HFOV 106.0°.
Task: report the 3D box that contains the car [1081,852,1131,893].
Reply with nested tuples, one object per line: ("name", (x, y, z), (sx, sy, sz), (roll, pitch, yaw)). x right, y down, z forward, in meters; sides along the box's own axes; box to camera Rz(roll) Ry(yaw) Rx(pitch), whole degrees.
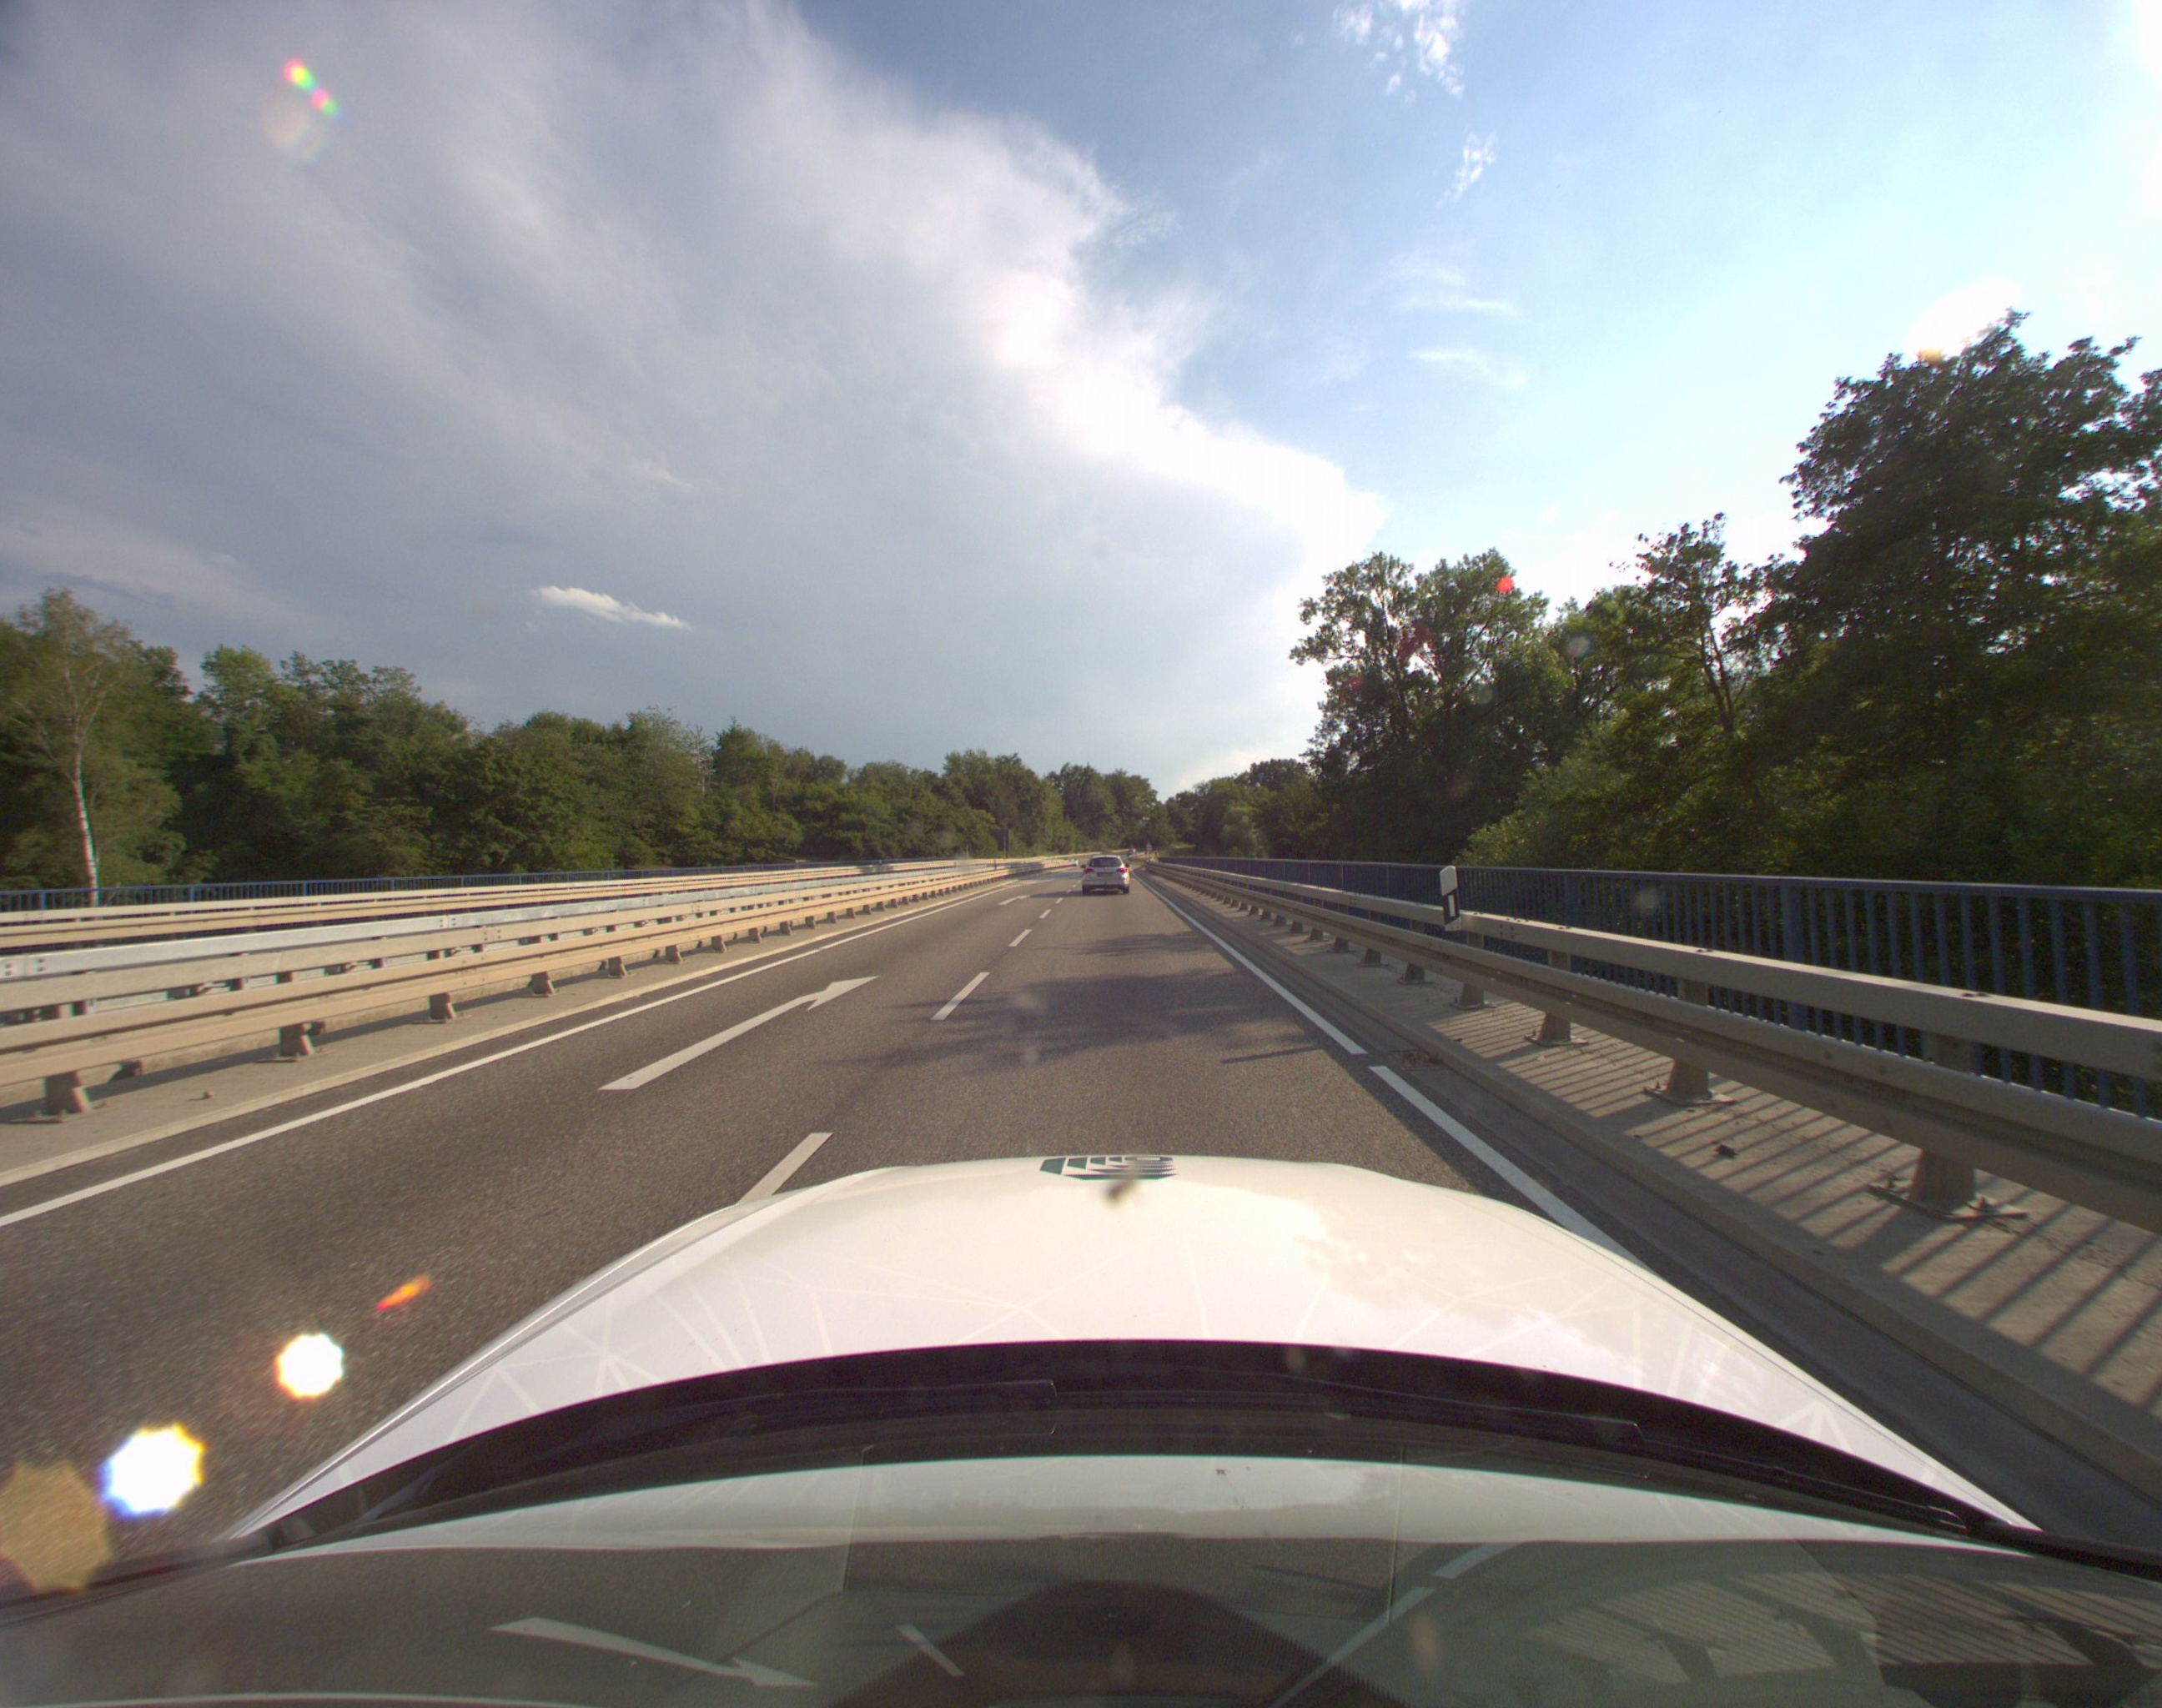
("car", (0.962, 0.693, 31.816), (1.802, 1.486, 4.001), (0, -1, 1))

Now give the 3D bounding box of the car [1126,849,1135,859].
("car", (10.602, 0.040, 173.877), (1.985, 2.014, 4.004), (-1, -1, 4))

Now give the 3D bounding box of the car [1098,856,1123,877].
("car", (2.180, 0.919, 61.046), (1.802, 1.486, 4.001), (0, -1, 1))
